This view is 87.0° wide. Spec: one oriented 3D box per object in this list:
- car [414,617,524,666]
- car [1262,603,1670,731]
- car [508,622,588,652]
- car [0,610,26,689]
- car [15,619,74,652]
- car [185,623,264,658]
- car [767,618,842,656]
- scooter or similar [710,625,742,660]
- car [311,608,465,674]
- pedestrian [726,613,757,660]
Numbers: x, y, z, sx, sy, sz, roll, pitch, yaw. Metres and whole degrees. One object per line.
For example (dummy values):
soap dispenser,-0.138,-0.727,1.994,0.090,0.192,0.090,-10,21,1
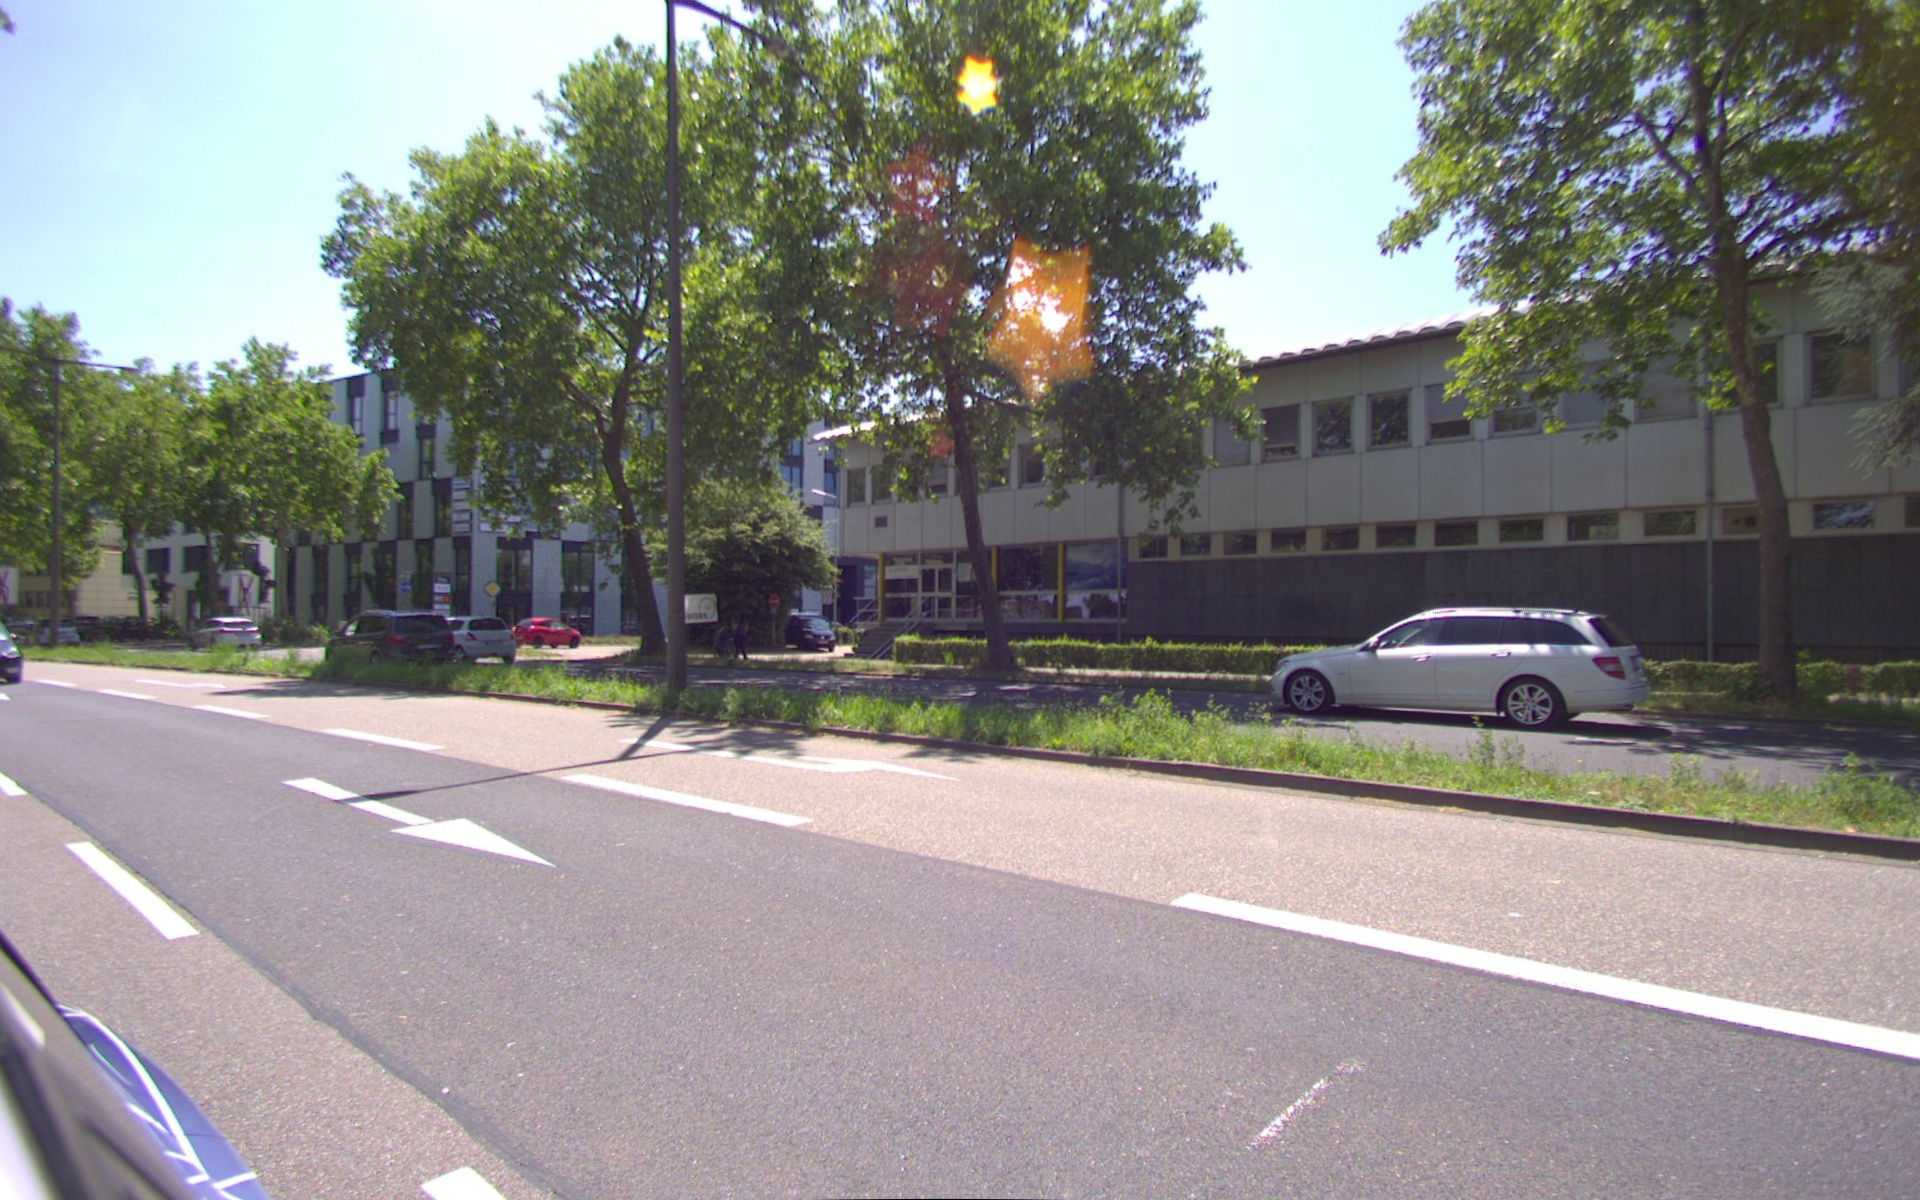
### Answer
car,-15.562,1.289,32.041,3.669,1.470,1.715,-1,-2,39
car,6.570,0.806,13.485,4.546,1.429,1.833,-1,-2,42
car,-20.521,1.823,50.532,1.667,1.472,3.501,-1,-2,24
car,-23.625,1.143,23.681,4.641,1.769,1.837,-1,-1,37
car,-43.213,1.658,47.759,2.848,1.540,1.519,-1,-2,36
car,-31.759,1.708,43.702,3.665,1.454,1.735,-1,-2,36
car,-7.444,1.734,48.342,3.528,1.660,1.795,-1,0,44
scooter or similar,-7.988,1.427,34.536,0.858,1.172,0.672,-1,-2,37
car,-15.667,1.086,27.632,4.612,1.668,1.932,-1,-2,36
pedestrian,-7.346,1.218,34.014,0.790,1.572,0.635,-1,-2,38
